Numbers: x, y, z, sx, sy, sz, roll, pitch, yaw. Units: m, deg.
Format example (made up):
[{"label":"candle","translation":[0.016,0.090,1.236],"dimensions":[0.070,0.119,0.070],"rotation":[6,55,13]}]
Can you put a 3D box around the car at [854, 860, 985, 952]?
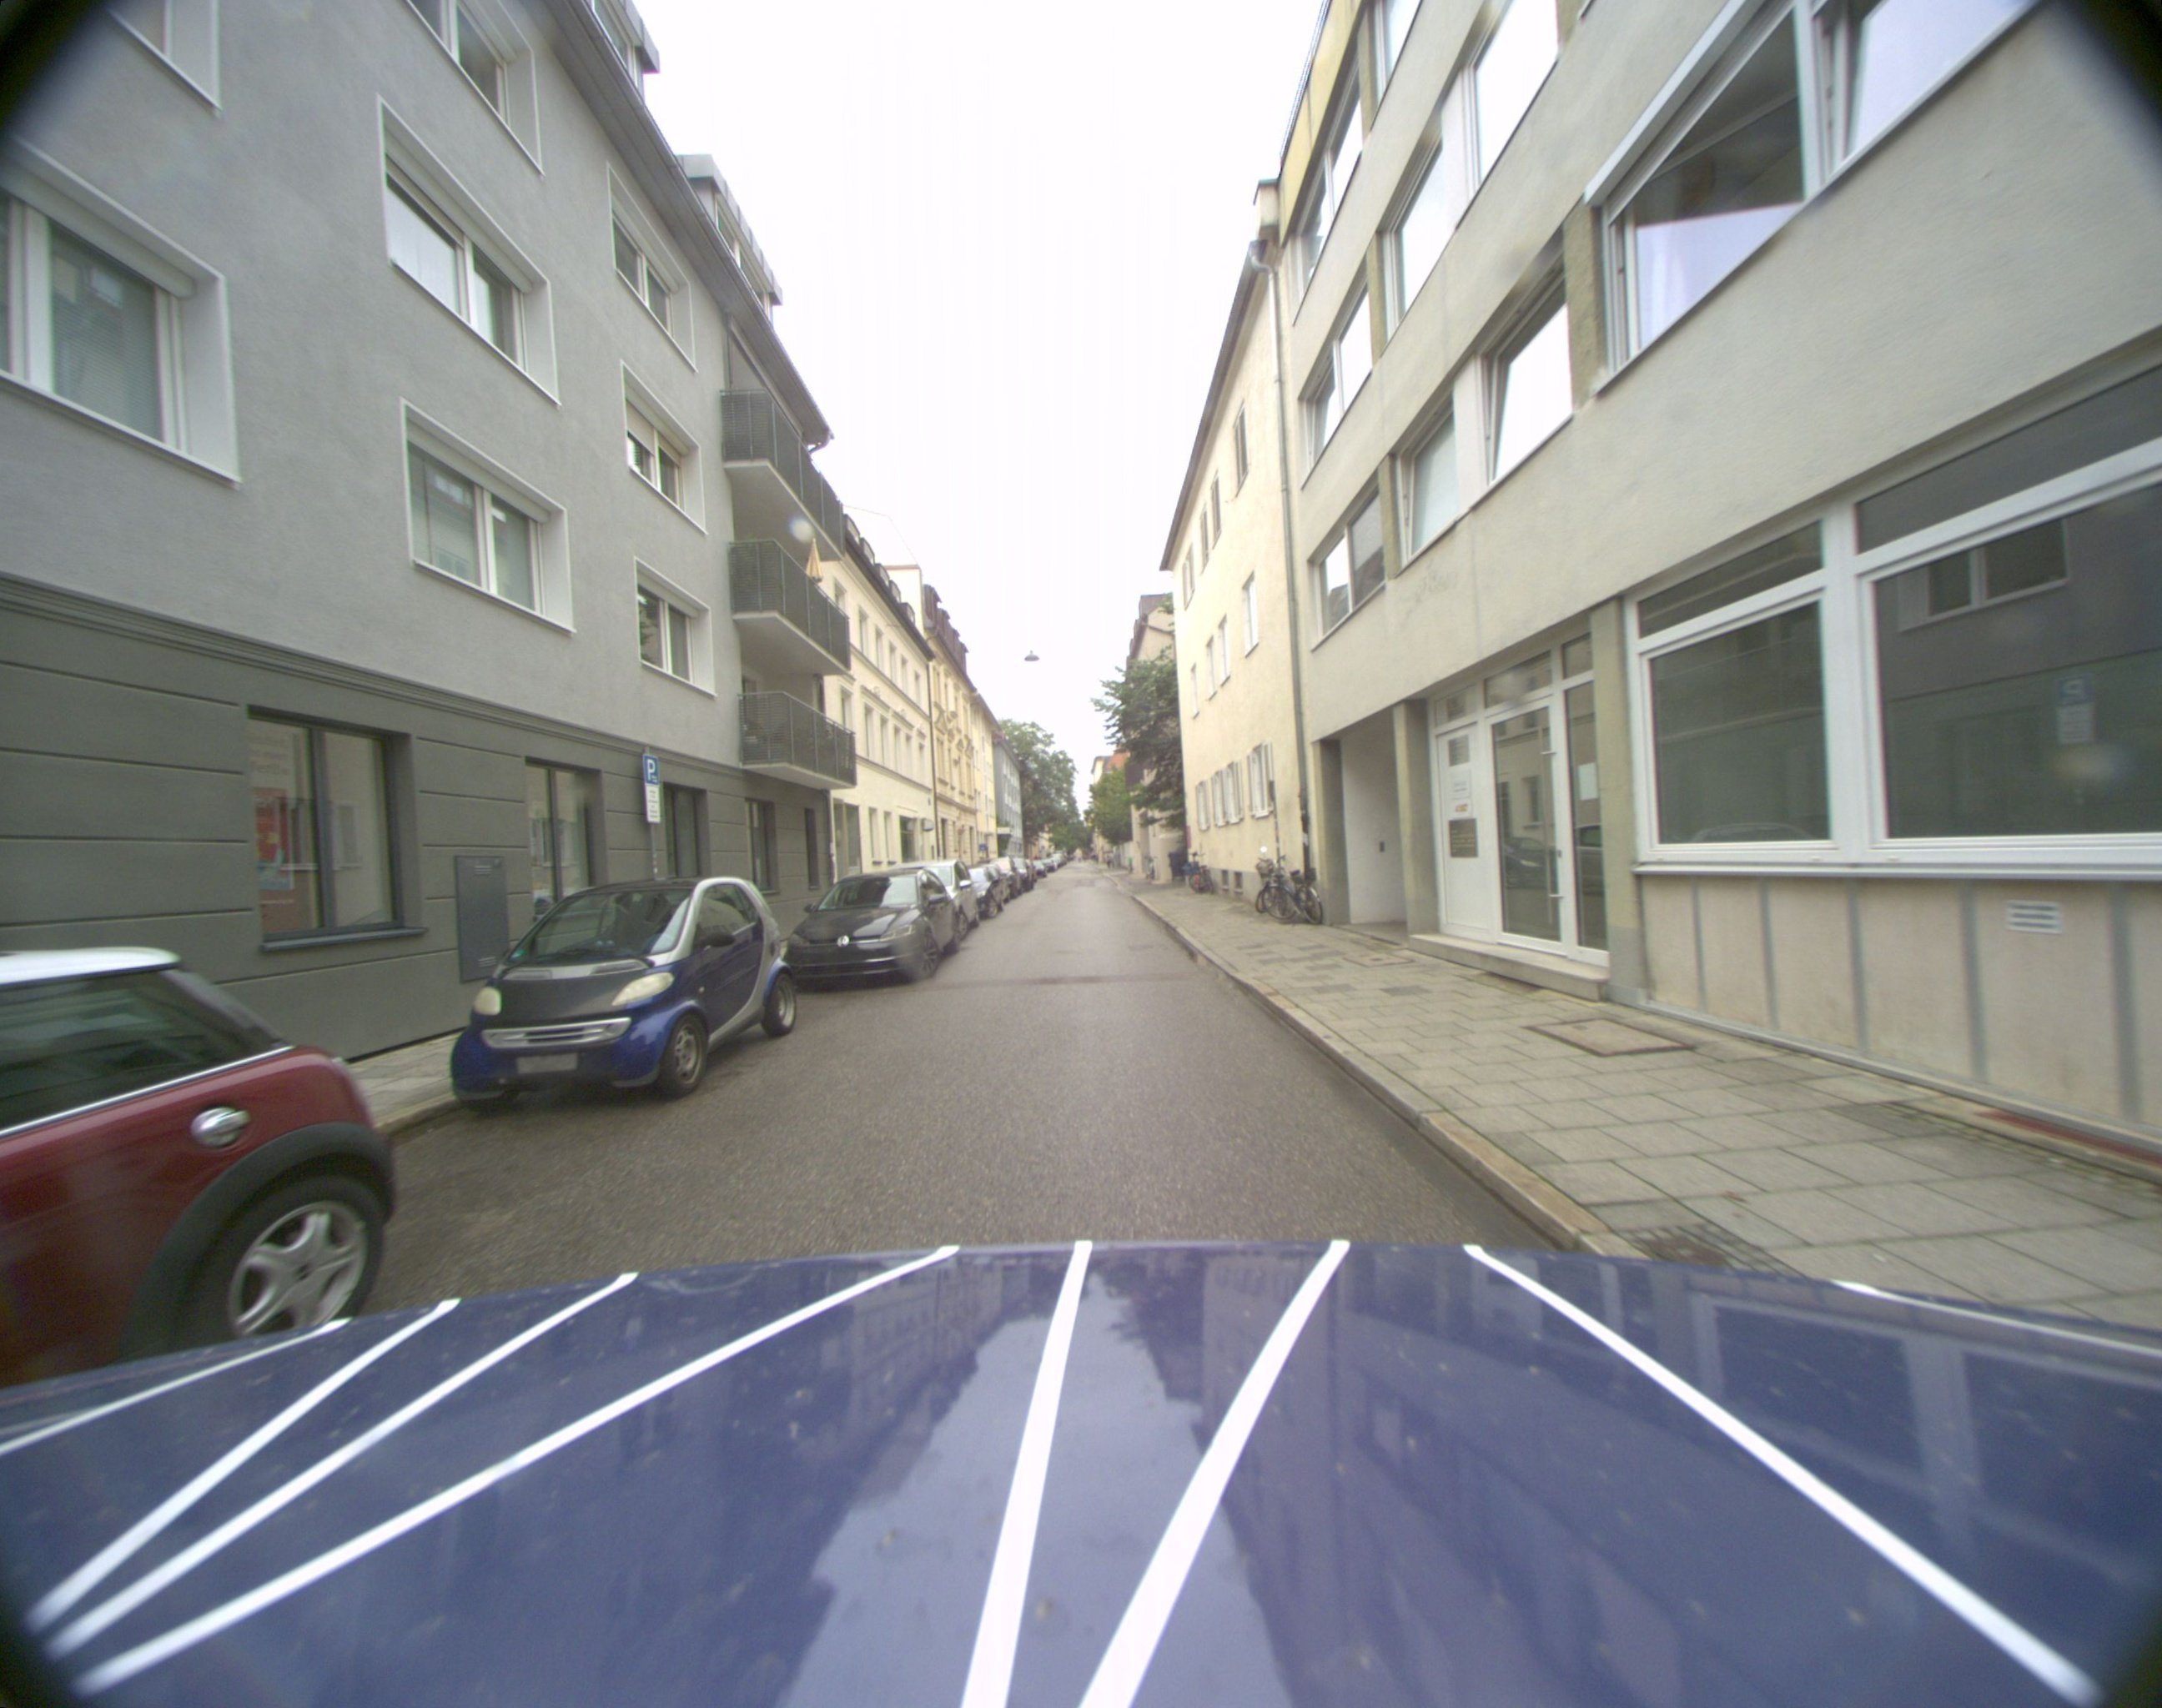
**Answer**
[{"label":"car","translation":[-3.186,0.957,15.905],"dimensions":[1.880,1.561,4.315],"rotation":[-2,0,-2]}]

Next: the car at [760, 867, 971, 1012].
[{"label":"car","translation":[-2.888,1.059,11.240],"dimensions":[1.844,1.520,4.292],"rotation":[-4,0,-1]}]

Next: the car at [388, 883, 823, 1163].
[{"label":"car","translation":[-3.485,1.109,6.308],"dimensions":[1.525,1.503,3.201],"rotation":[-4,0,-1]}]

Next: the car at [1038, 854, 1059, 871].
[{"label":"car","translation":[-3.187,0.793,74.660],"dimensions":[1.846,1.420,4.263],"rotation":[-7,0,-2]}]

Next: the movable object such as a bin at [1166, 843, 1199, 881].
[{"label":"movable object such as a bin","translation":[4.350,0.339,32.619],"dimensions":[1.177,1.433,1.249],"rotation":[-8,-1,6]}]

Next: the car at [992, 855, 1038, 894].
[{"label":"car","translation":[-3.076,0.920,36.437],"dimensions":[1.706,1.597,4.684],"rotation":[-4,0,0]}]

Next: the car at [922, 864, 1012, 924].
[{"label":"car","translation":[-3.046,1.043,21.115],"dimensions":[1.812,1.355,3.945],"rotation":[-3,0,1]}]

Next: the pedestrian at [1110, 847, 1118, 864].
[{"label":"pedestrian","translation":[3.272,0.153,75.982],"dimensions":[0.624,1.570,0.714],"rotation":[-4,1,0]}]

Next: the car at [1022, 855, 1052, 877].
[{"label":"car","translation":[-3.280,0.857,57.272],"dimensions":[1.830,1.327,4.508],"rotation":[-7,0,0]}]

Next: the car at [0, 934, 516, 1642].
[{"label":"car","translation":[-3.396,1.144,1.269],"dimensions":[1.750,1.453,4.149],"rotation":[-4,0,-1]}]

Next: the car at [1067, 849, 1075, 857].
[{"label":"car","translation":[-2.872,-0.331,226.360],"dimensions":[2.014,1.969,5.090],"rotation":[-7,0,1]}]

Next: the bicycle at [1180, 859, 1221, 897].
[{"label":"bicycle","translation":[3.592,0.707,23.002],"dimensions":[0.705,0.978,1.822],"rotation":[-7,1,-4]}]

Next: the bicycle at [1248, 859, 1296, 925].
[{"label":"bicycle","translation":[3.715,0.710,14.859],"dimensions":[0.459,1.153,1.605],"rotation":[-6,1,1]}]

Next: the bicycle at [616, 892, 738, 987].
[{"label":"bicycle","translation":[-5.647,1.157,10.774],"dimensions":[0.570,1.085,1.996],"rotation":[-3,0,1]}]

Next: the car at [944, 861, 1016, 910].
[{"label":"car","translation":[-3.305,0.981,25.651],"dimensions":[1.804,1.377,4.348],"rotation":[-3,0,0]}]

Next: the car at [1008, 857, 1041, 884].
[{"label":"car","translation":[-3.449,0.982,47.198],"dimensions":[1.680,1.484,3.853],"rotation":[-4,0,0]}]

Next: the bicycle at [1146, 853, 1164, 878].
[{"label":"bicycle","translation":[3.692,0.572,38.067],"dimensions":[0.545,1.154,1.882],"rotation":[-5,1,-1]}]

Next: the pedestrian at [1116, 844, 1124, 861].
[{"label":"pedestrian","translation":[3.919,-0.132,76.022],"dimensions":[0.615,1.612,0.687],"rotation":[-6,1,0]}]

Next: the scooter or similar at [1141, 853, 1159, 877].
[{"label":"scooter or similar","translation":[3.649,0.562,40.132],"dimensions":[0.553,1.137,1.359],"rotation":[-5,1,17]}]

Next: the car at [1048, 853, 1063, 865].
[{"label":"car","translation":[-3.314,0.659,99.235],"dimensions":[1.860,1.366,4.509],"rotation":[-5,1,-1]}]

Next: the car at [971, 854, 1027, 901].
[{"label":"car","translation":[-3.207,0.868,30.596],"dimensions":[1.680,1.651,4.512],"rotation":[-4,0,0]}]

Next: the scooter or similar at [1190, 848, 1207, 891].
[{"label":"scooter or similar","translation":[3.817,0.490,24.730],"dimensions":[0.318,1.368,1.239],"rotation":[-2,1,0]}]

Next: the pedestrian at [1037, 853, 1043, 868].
[{"label":"pedestrian","translation":[-5.255,0.819,97.180],"dimensions":[0.581,1.966,0.455],"rotation":[-4,1,0]}]

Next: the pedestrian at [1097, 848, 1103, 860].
[{"label":"pedestrian","translation":[2.776,0.043,110.394],"dimensions":[0.766,1.742,0.970],"rotation":[-3,1,0]}]

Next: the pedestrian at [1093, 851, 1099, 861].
[{"label":"pedestrian","translation":[2.585,0.354,129.851],"dimensions":[0.920,1.742,1.066],"rotation":[-3,1,0]}]

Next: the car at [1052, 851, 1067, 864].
[{"label":"car","translation":[-3.099,0.458,109.777],"dimensions":[1.998,1.677,4.510],"rotation":[-3,0,1]}]

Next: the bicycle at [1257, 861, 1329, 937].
[{"label":"bicycle","translation":[3.633,0.736,13.144],"dimensions":[0.563,1.153,1.720],"rotation":[-4,1,-6]}]

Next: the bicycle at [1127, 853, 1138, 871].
[{"label":"bicycle","translation":[3.510,0.514,51.708],"dimensions":[0.539,1.132,1.916],"rotation":[-5,1,-1]}]
